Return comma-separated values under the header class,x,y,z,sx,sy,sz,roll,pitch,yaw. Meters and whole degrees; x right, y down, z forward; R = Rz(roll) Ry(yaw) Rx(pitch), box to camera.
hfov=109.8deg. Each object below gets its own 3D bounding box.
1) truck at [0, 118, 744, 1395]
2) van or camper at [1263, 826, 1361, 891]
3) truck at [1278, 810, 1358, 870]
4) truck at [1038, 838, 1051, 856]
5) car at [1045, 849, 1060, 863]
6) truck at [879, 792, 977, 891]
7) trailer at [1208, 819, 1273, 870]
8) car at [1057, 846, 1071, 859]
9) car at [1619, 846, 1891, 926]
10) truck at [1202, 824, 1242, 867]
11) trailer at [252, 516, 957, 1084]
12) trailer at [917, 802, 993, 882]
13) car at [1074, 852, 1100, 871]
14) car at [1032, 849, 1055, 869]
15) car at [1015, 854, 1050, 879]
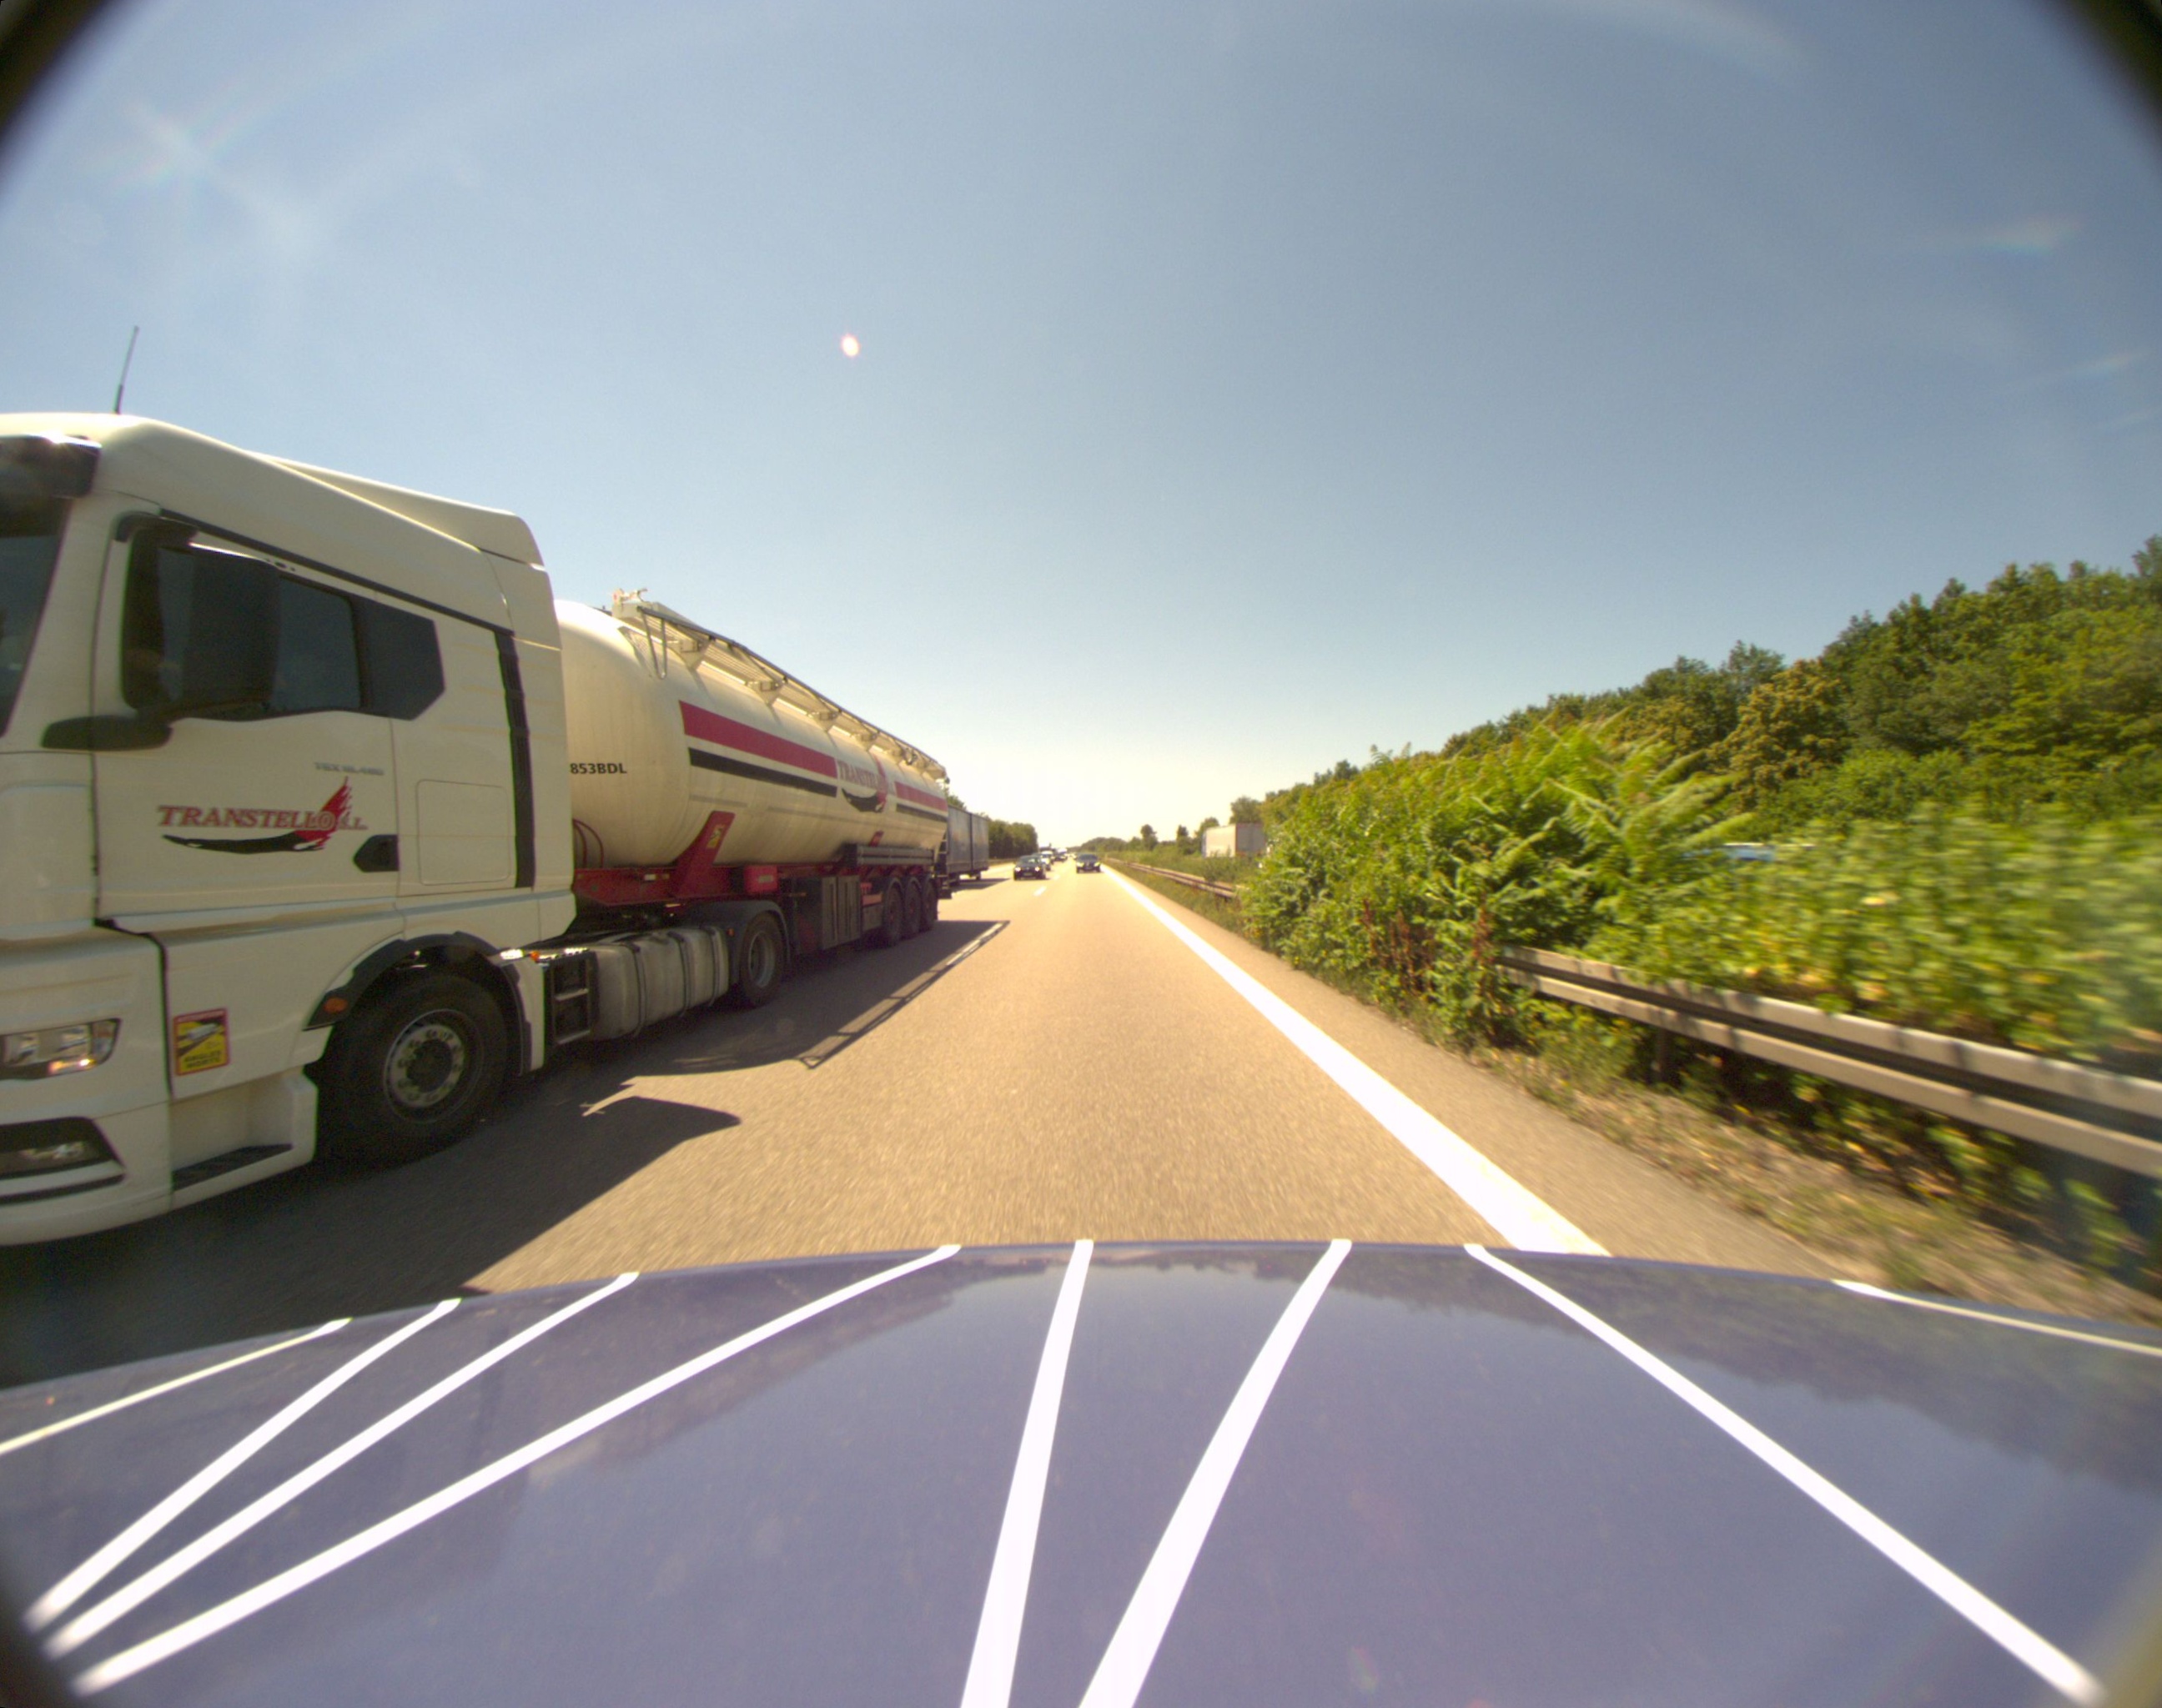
class,x,y,z,sx,sy,sz,roll,pitch,yaw
truck,-4.819,-0.330,4.905,2.797,4.180,5.000,-1,1,3
van or camper,9.346,0.160,31.487,1.998,2.356,6.999,-1,0,0
truck,17.839,-1.006,58.003,3.021,4.090,9.999,-1,0,1
truck,-8.531,-1.676,178.848,2.797,4.180,10.805,-1,0,-1
car,-3.856,0.225,103.014,1.887,1.861,4.467,-1,0,-1
truck,-7.236,-0.572,37.656,2.797,4.180,10.804,-1,0,-1
trailer,13.616,-0.784,66.127,2.877,3.986,13.517,-1,0,1
car,-2.722,-0.299,123.309,1.998,2.002,4.000,-1,1,0
car,12.839,0.525,14.875,1.799,1.330,4.000,-1,0,1
truck,13.605,-0.787,73.596,2.877,3.986,5.000,-1,1,0
trailer,-4.556,-0.414,11.828,2.797,4.180,12.353,-1,0,2
trailer,-7.323,-0.666,45.865,2.797,4.180,10.805,-1,0,0
car,0.441,0.543,58.290,1.887,1.341,4.467,-1,0,-1
car,-3.307,0.411,67.591,1.887,1.634,3.999,-1,0,-1
car,-2.907,0.711,46.329,1.841,1.409,4.496,-1,0,-1
